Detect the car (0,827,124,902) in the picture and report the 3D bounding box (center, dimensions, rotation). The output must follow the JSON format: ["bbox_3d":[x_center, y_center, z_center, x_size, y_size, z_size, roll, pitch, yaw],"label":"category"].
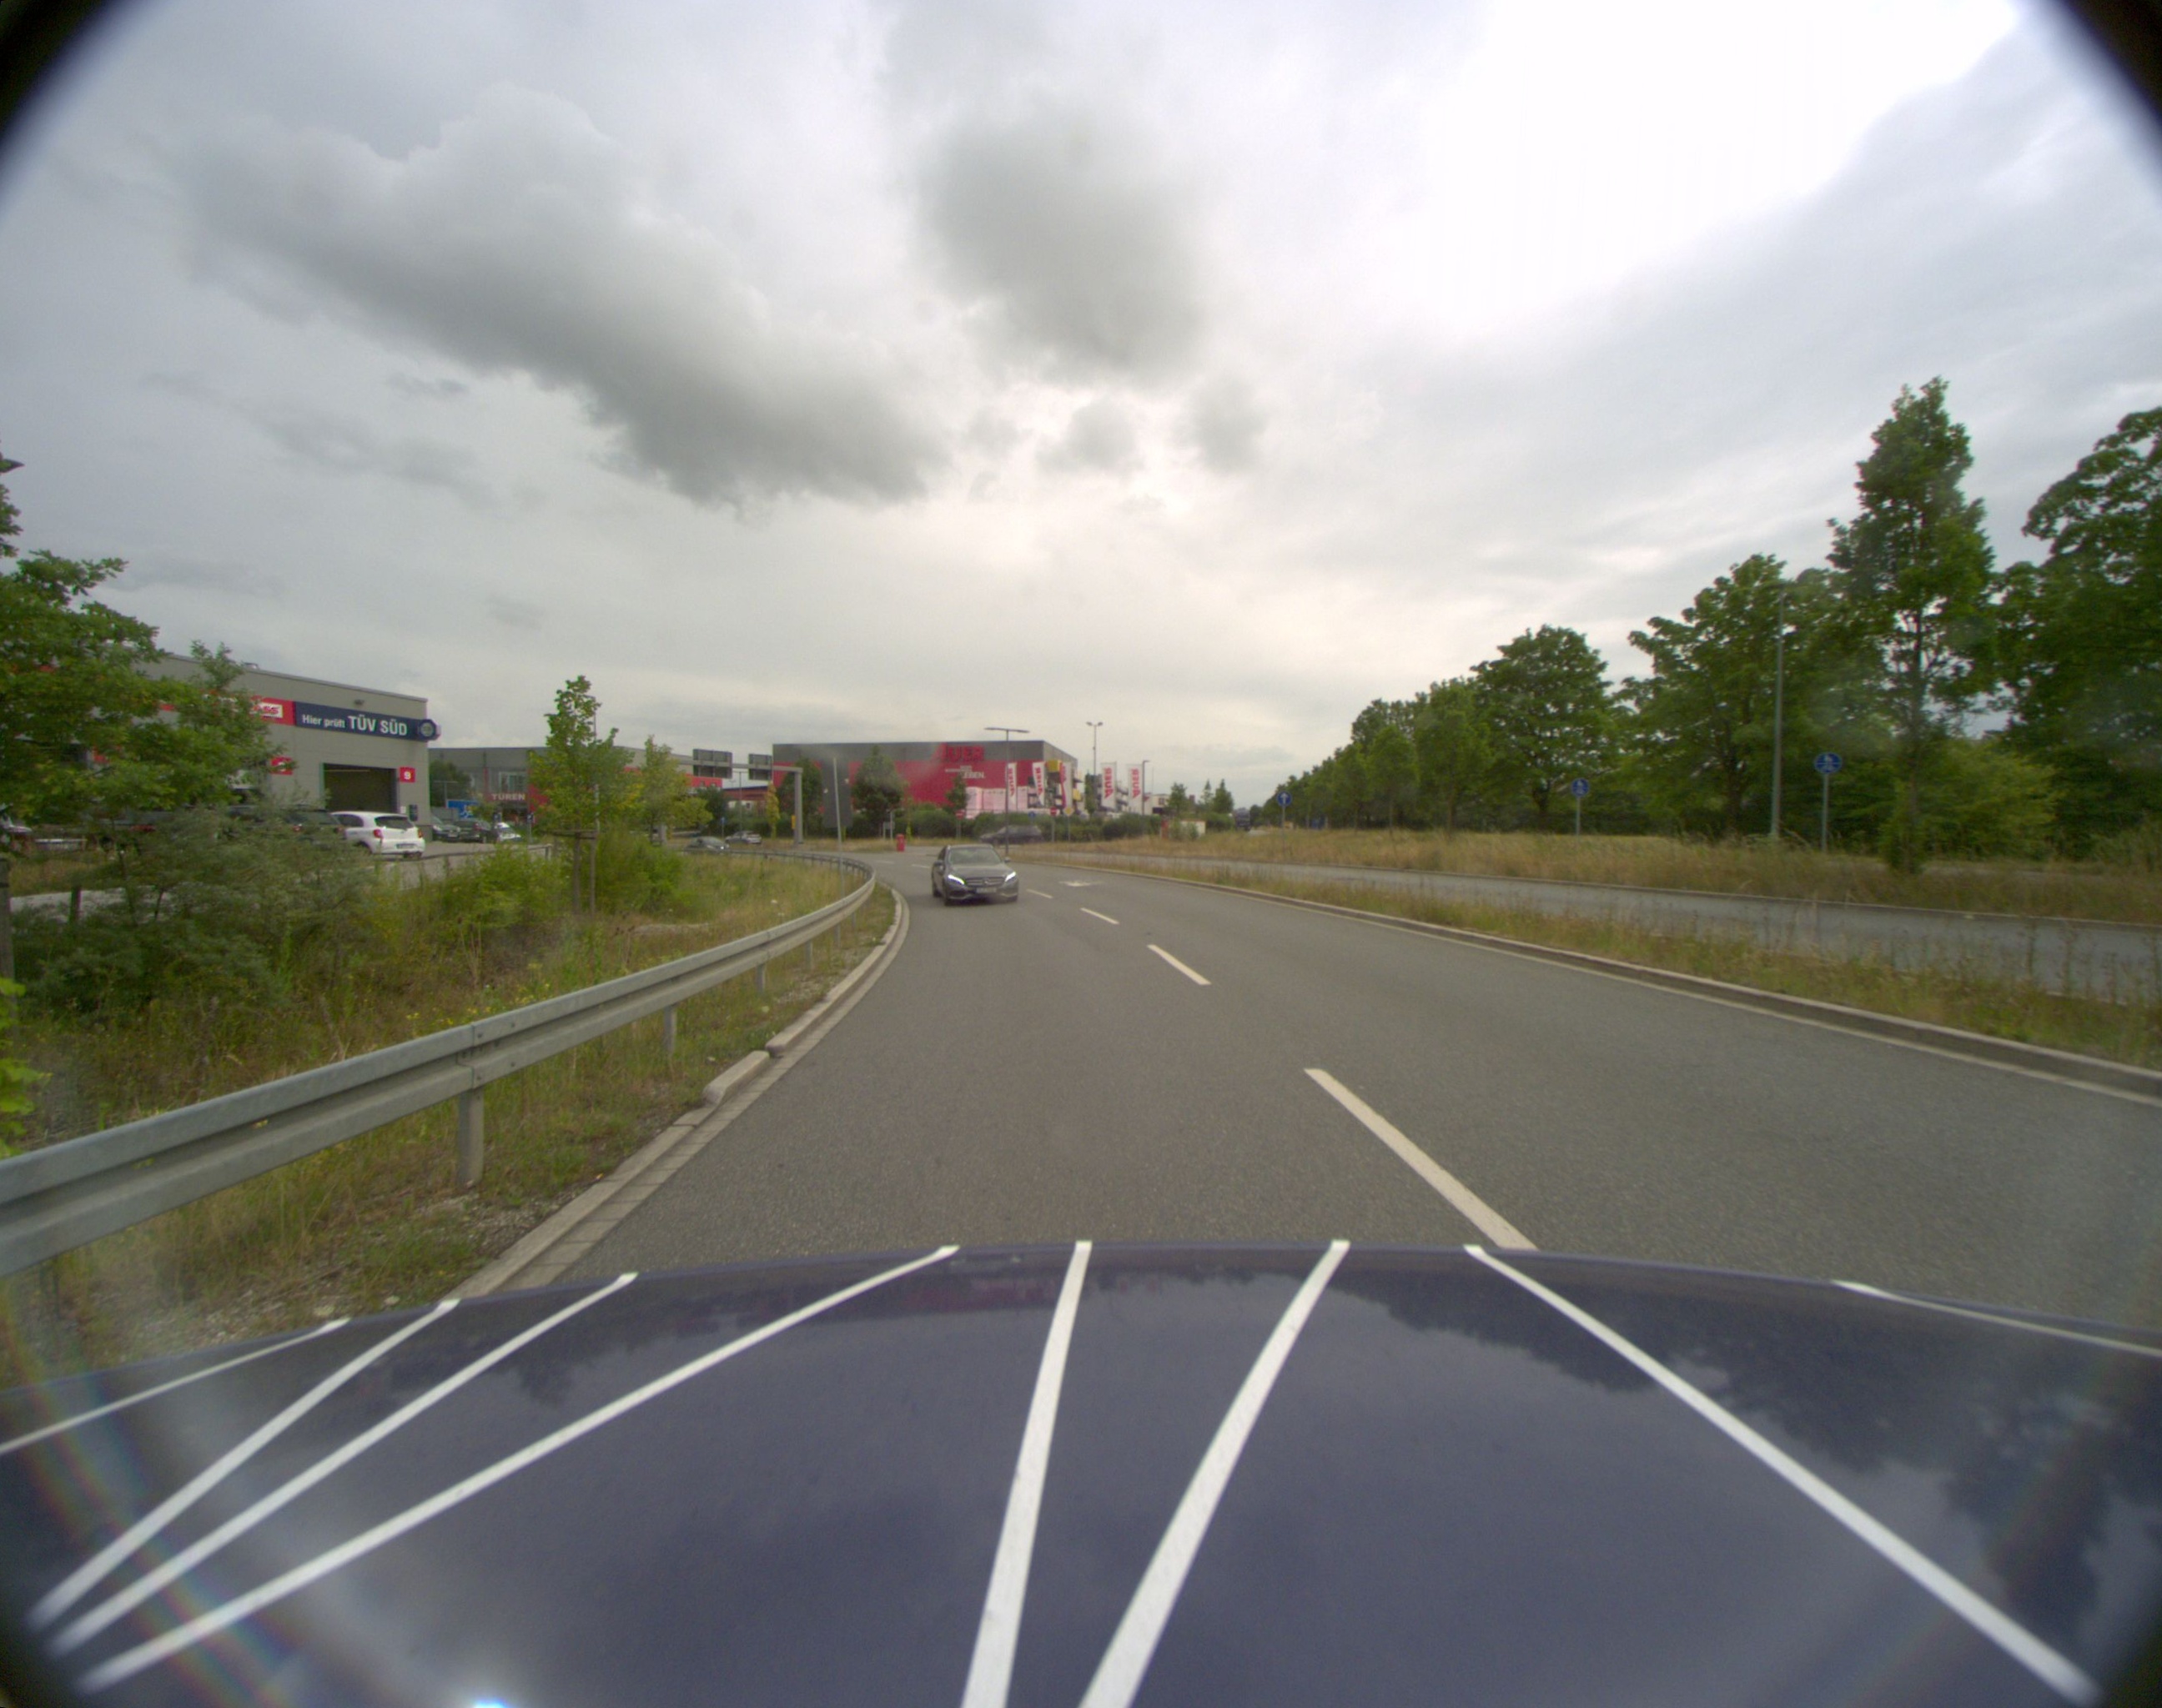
[{"bbox_3d":[-23.656,0.175,16.383,3.882,1.529,1.676,0,2,1],"label":"car"}]

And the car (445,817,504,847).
[{"bbox_3d":[-40.029,-1.498,50.266,1.806,1.773,4.158,-3,6,-22],"label":"car"}]

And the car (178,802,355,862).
[{"bbox_3d":[-23.074,-0.612,21.598,3.441,1.626,1.732,0,2,9],"label":"car"}]

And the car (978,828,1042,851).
[{"bbox_3d":[-5.230,-1.101,55.797,4.260,1.541,1.869,-2,4,-23],"label":"car"}]

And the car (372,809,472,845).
[{"bbox_3d":[-34.493,-1.395,39.818,3.965,1.800,1.706,0,0,7],"label":"car"}]

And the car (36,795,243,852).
[{"bbox_3d":[-23.210,-0.734,18.789,3.441,1.327,1.644,0,2,9],"label":"car"}]

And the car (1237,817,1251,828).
[{"bbox_3d":[29.670,-5.760,138.428,1.997,1.740,4.002,1,1,6],"label":"car"}]

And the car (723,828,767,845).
[{"bbox_3d":[-32.580,-1.673,73.658,4.085,1.479,1.465,0,6,27],"label":"car"}]

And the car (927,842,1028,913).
[{"bbox_3d":[-2.857,0.508,20.059,1.908,1.489,4.331,-3,3,-17],"label":"car"}]

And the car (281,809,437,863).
[{"bbox_3d":[-22.782,-0.569,24.047,3.623,1.530,1.644,2,2,8],"label":"car"}]
